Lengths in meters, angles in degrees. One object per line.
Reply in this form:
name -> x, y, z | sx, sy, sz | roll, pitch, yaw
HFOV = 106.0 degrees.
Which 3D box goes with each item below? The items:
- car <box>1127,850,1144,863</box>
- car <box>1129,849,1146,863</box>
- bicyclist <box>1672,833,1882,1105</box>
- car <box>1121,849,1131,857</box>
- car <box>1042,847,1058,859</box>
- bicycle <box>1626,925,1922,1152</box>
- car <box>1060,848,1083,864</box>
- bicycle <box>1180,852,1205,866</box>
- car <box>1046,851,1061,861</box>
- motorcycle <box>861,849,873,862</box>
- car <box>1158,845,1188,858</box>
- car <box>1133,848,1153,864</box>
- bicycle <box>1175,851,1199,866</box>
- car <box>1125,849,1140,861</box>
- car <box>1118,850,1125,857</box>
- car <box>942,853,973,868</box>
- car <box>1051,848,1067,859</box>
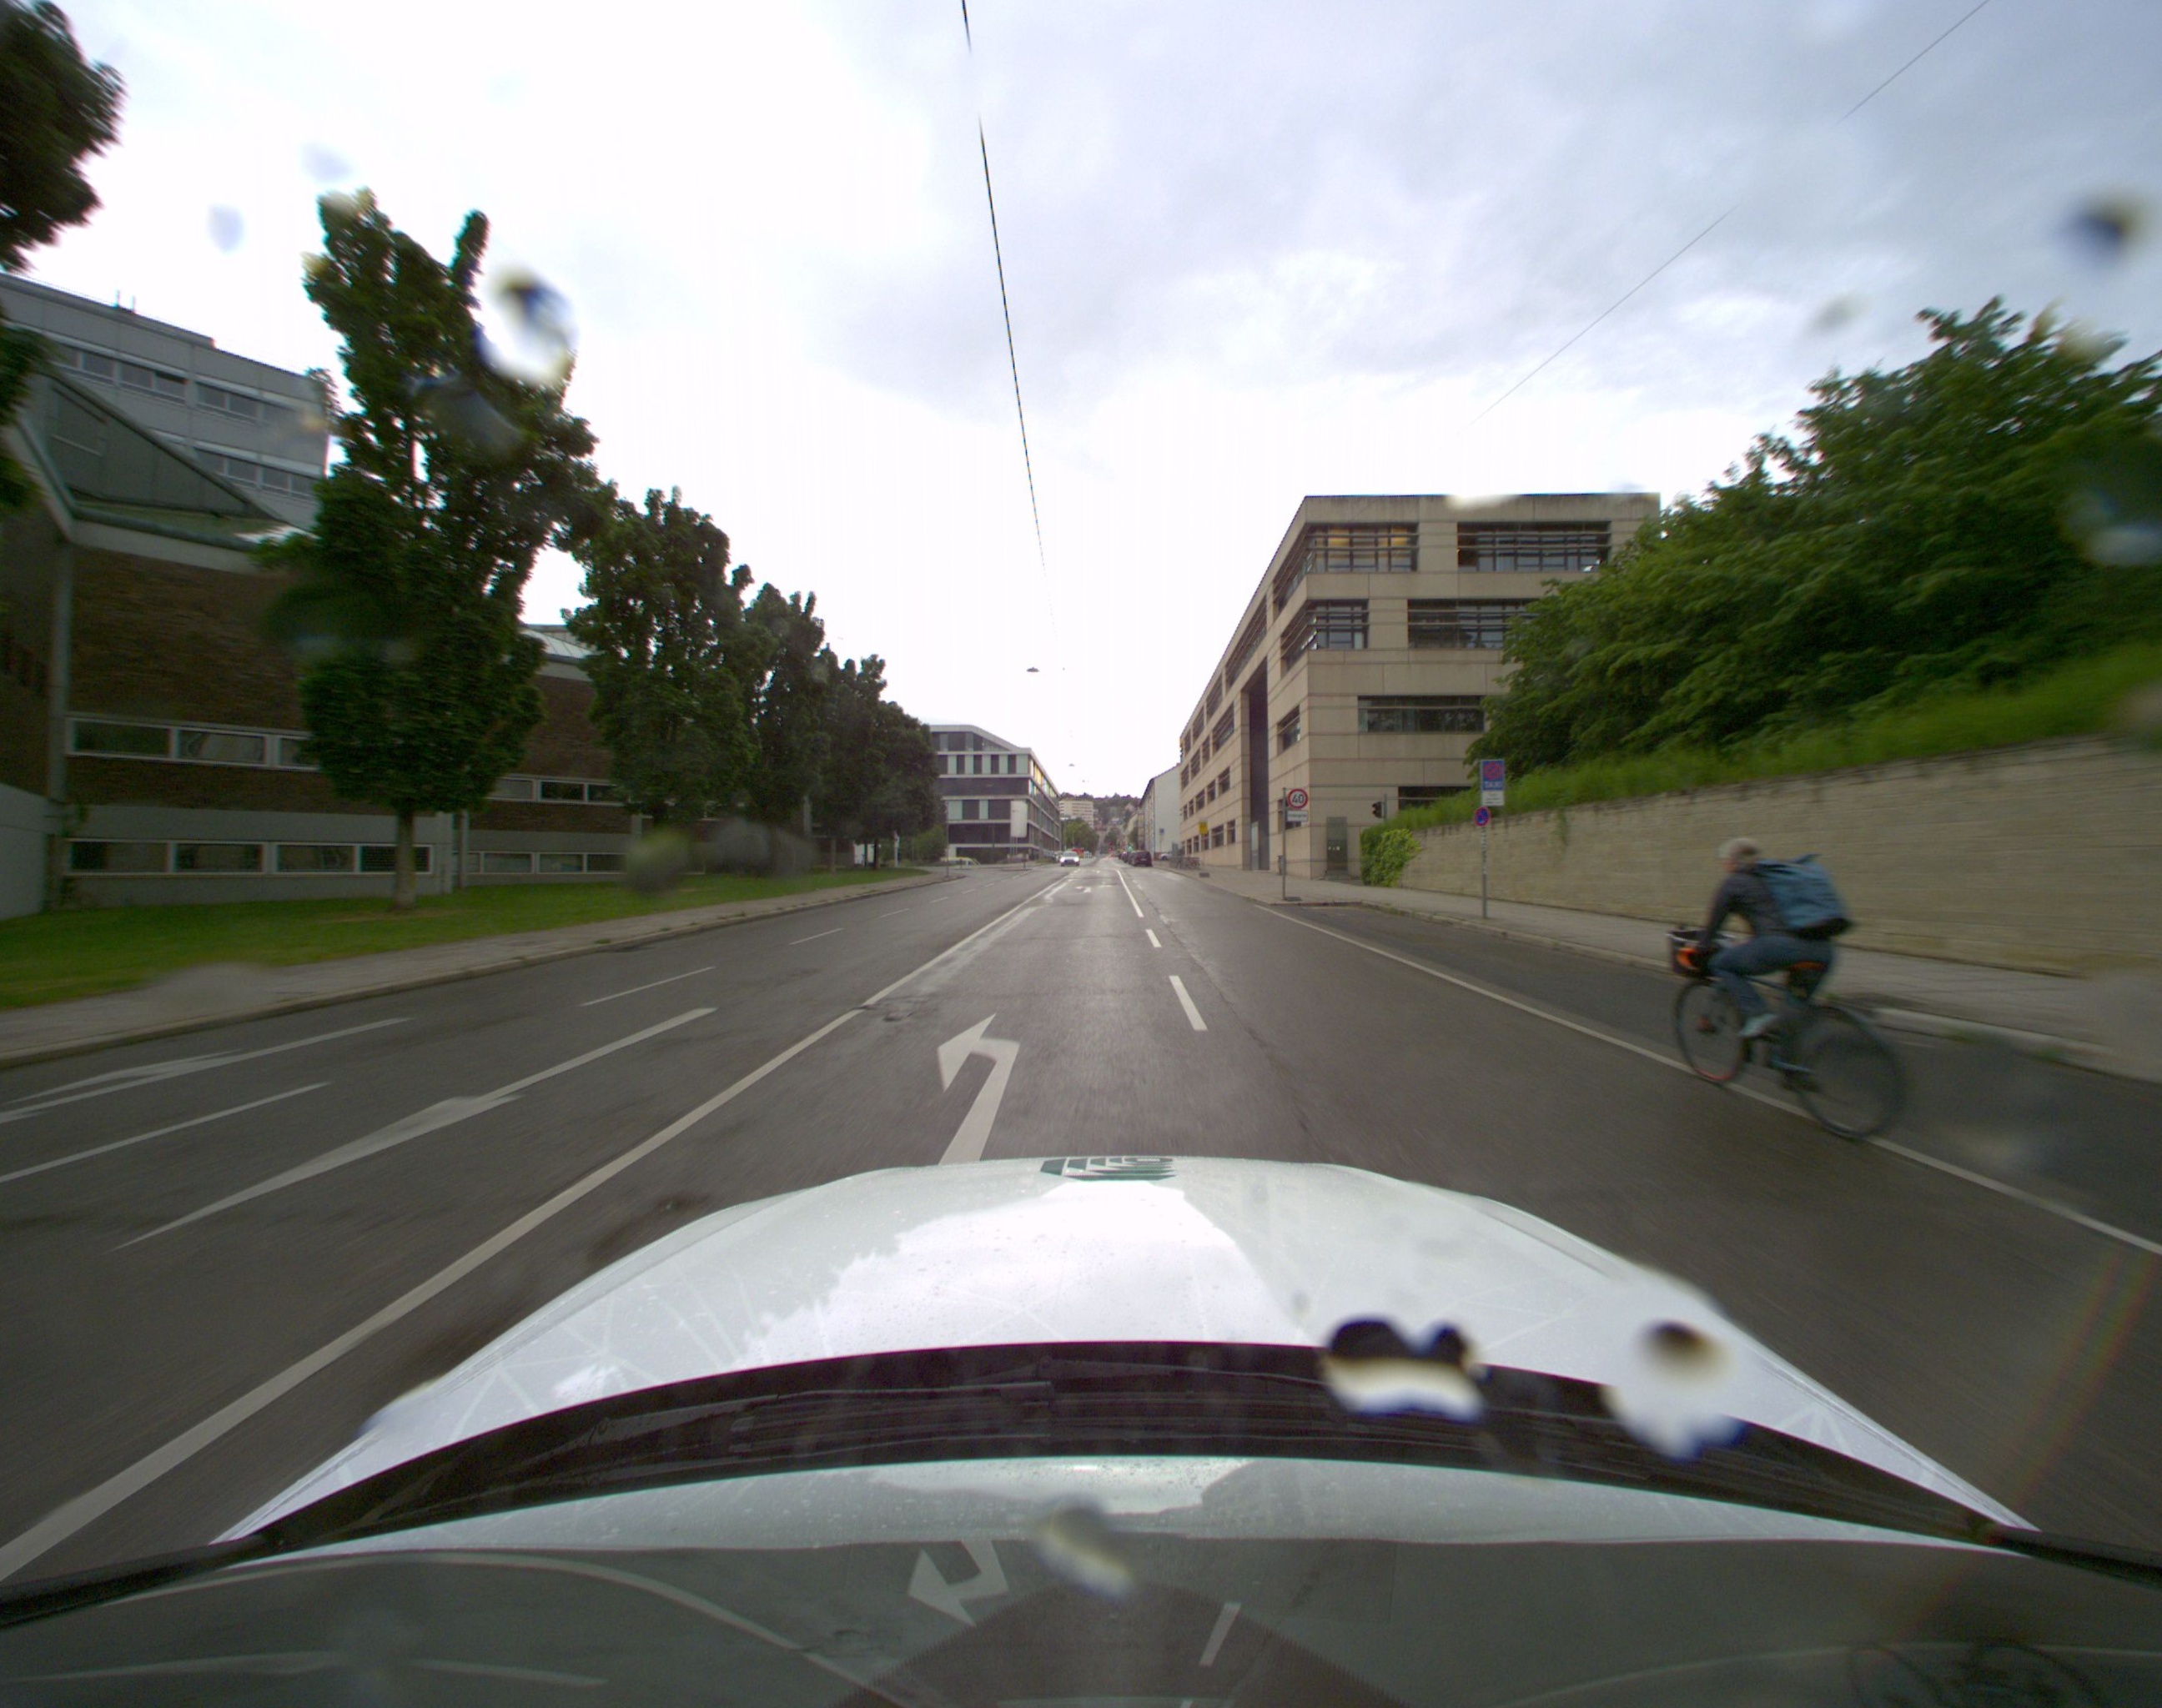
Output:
car -> 6.631, 0.298, 99.542 | 1.737, 1.533, 4.319 | 1, 0, 0
car -> 6.419, 0.251, 92.284 | 1.719, 1.512, 4.058 | 2, -1, 1
bicyclist -> 4.026, 0.610, 4.784 | 0.482, 1.433, 0.931 | 1, -1, 4
car -> 8.300, -0.225, 150.991 | 1.700, 1.454, 3.986 | 1, 0, 2
car -> -4.283, -0.071, 112.074 | 1.842, 1.617, 4.493 | 1, 0, 2
bicycle -> 4.029, 0.994, 4.914 | 0.445, 0.963, 1.692 | 0, 1, 4
car -> -0.952, 0.201, 86.051 | 1.873, 1.491, 5.226 | -2, 0, 4
bicycle -> 8.233, 0.373, 59.960 | 1.754, 0.953, 0.659 | 0, -1, -2
car -> -4.037, 0.292, 118.772 | 1.814, 1.419, 4.404 | 1, 0, 2
motorcycle -> -19.934, 0.176, 75.805 | 1.211, 1.185, 0.415 | 0, -1, 39
car -> 14.153, -0.399, 125.093 | 4.422, 1.712, 1.905 | -3, -1, 1
car -> 6.343, 0.243, 83.760 | 1.765, 1.604, 4.394 | 1, 0, 0
bicycle -> 7.912, 0.313, 60.947 | 1.726, 1.119, 0.659 | 0, -1, -4
car -> 7.310, 0.150, 116.371 | 1.928, 1.750, 4.798 | 1, 0, 2
car -> 11.041, -0.207, 223.171 | 1.858, 1.770, 4.194 | 1, 0, 5
car -> -18.853, 1.001, 124.694 | 4.581, 2.174, 1.928 | 1, -1, -5
car -> -3.453, -0.069, 128.914 | 1.954, 1.750, 4.947 | 1, 0, 4
